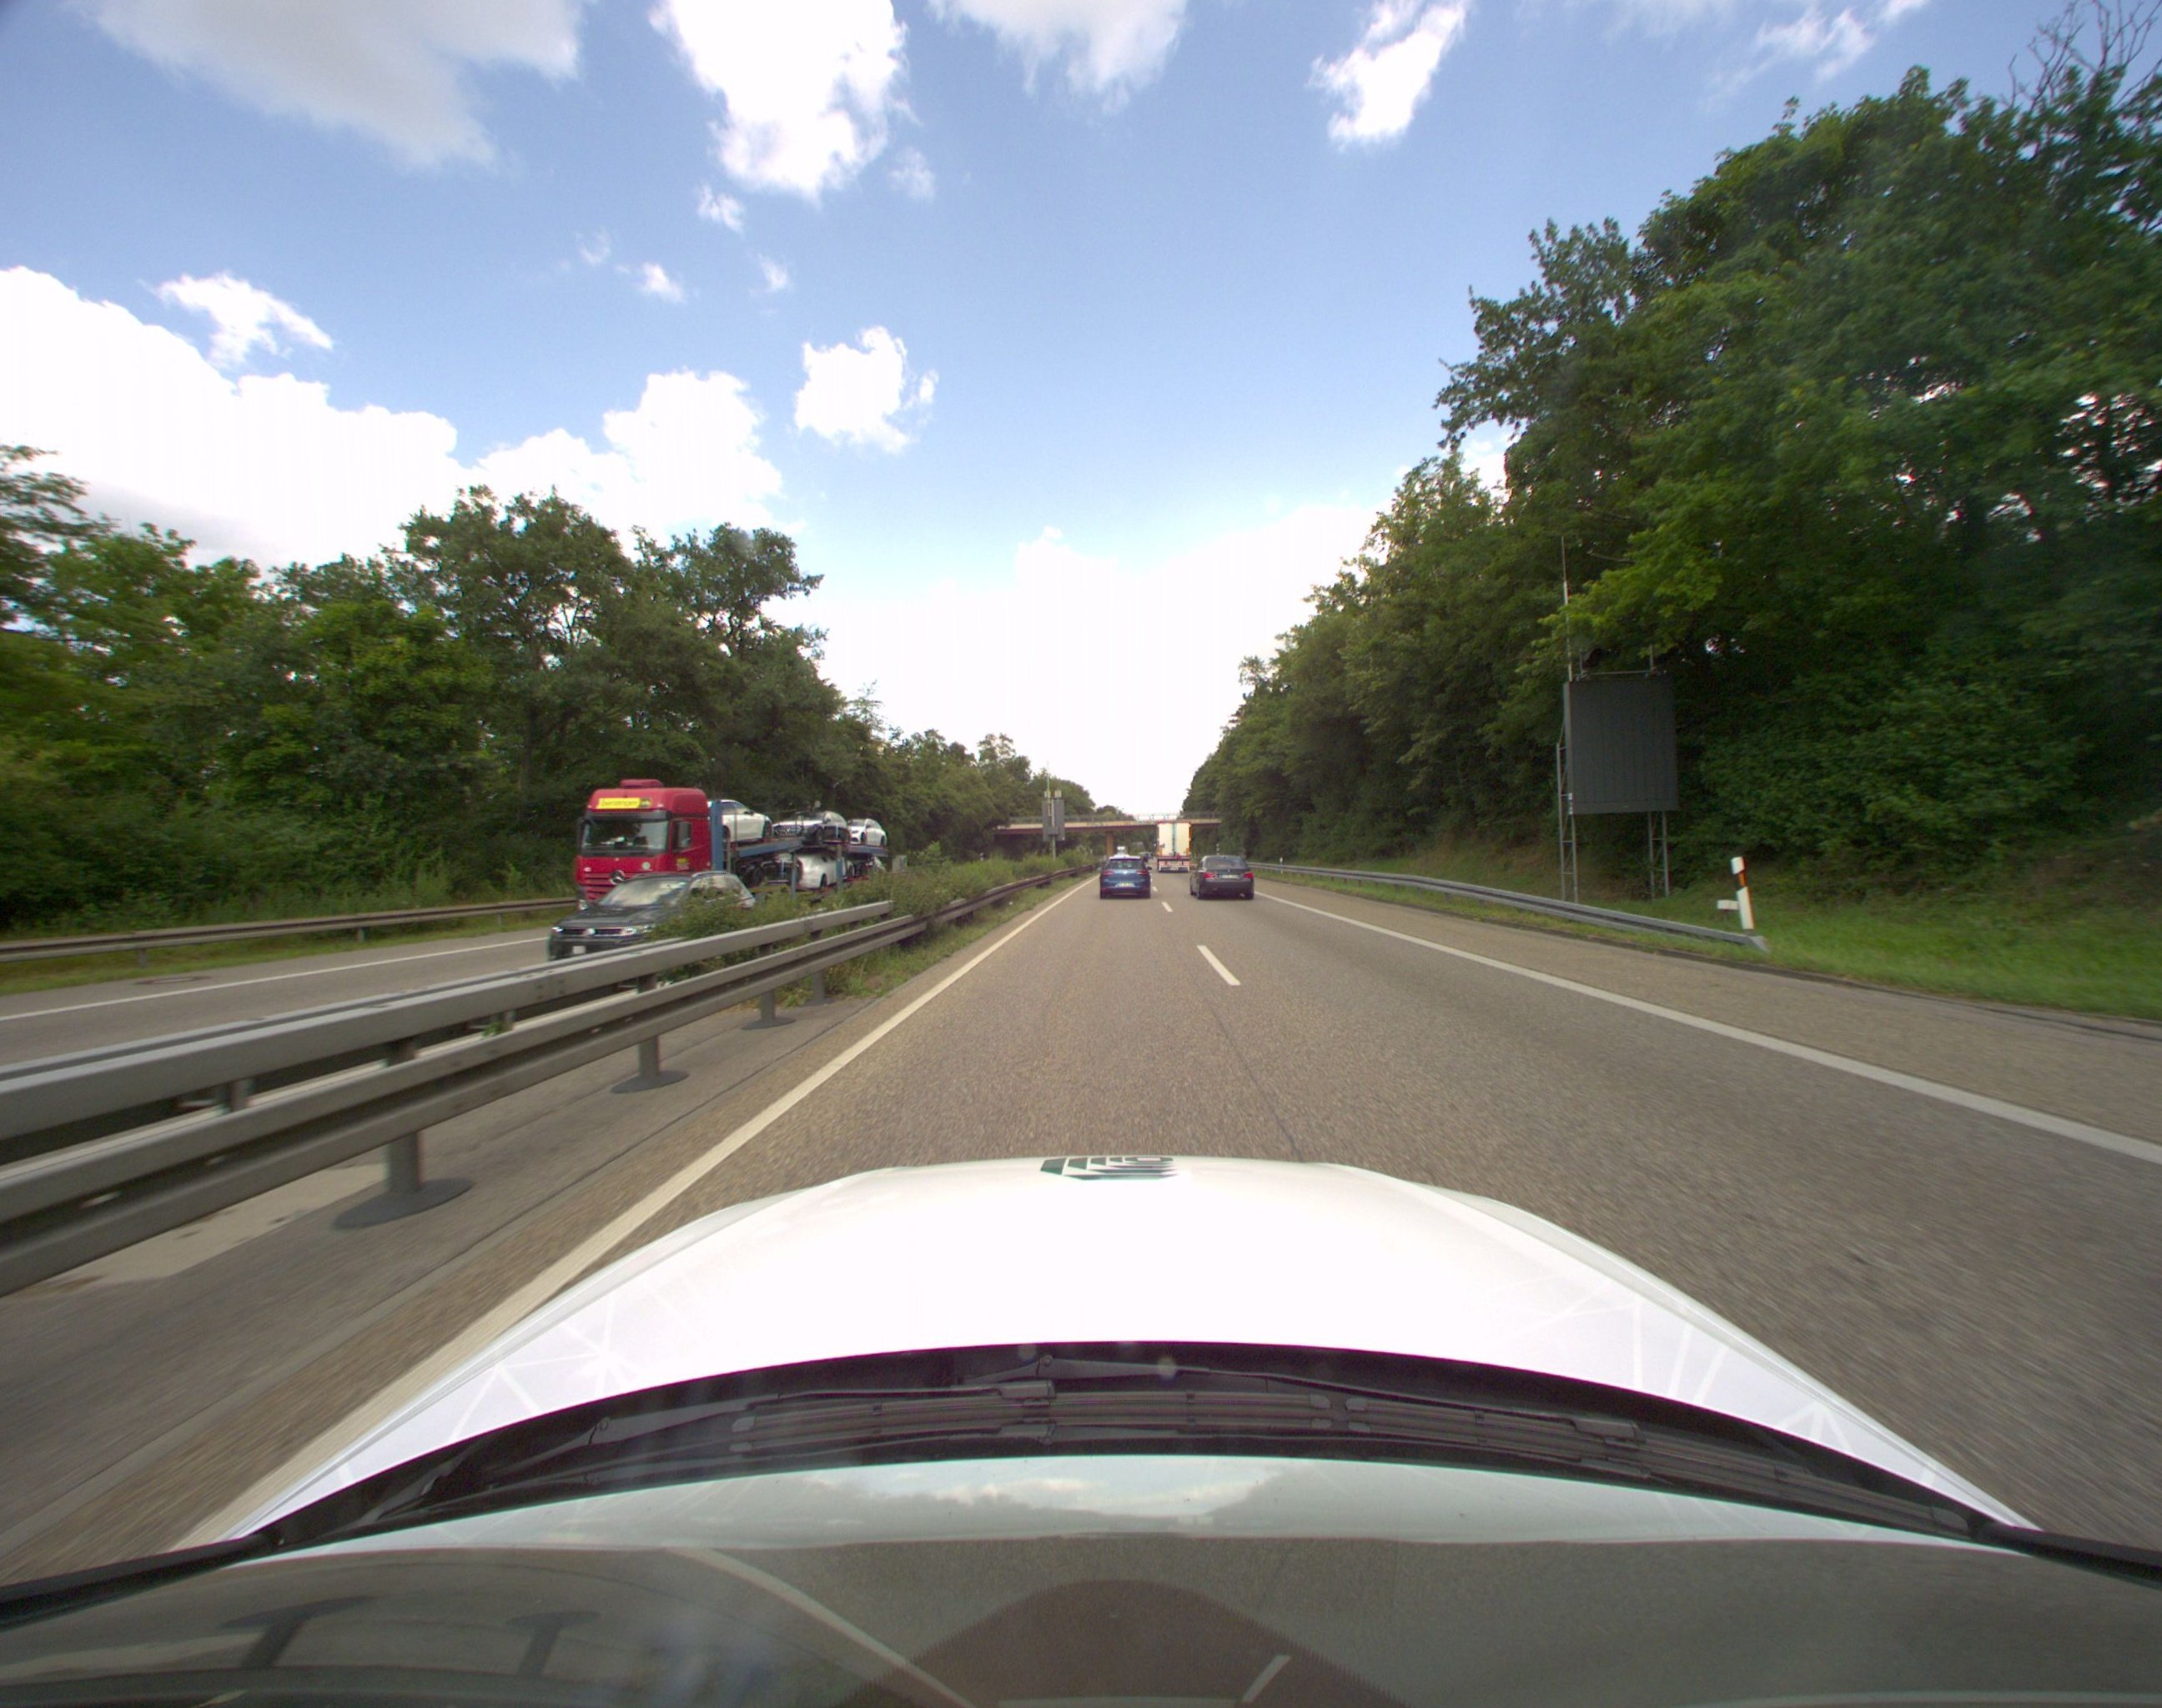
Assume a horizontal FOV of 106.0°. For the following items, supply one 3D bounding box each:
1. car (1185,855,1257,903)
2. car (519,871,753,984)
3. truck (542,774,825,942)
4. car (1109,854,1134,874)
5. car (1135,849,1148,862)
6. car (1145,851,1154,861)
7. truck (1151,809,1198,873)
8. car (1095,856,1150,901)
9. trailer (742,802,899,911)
[{"bbox_3d":[4.703,0.775,27.955,1.767,1.475,4.882,-1,0,2],"label":"car"},{"bbox_3d":[-7.661,1.171,14.564,1.667,1.551,4.265,-3,0,2],"label":"car"},{"bbox_3d":[-11.050,0.092,24.475,2.943,3.855,10.329,-3,0,2],"label":"truck"},{"bbox_3d":[3.288,0.784,65.732,1.657,1.500,4.160,-1,0,7],"label":"car"},{"bbox_3d":[9.560,0.188,128.419,1.944,2.013,4.006,-2,0,6],"label":"car"},{"bbox_3d":[16.600,0.565,198.314,1.985,2.327,4.447,-2,0,4],"label":"car"},{"bbox_3d":[7.556,-1.034,67.365,3.227,4.716,11.019,-2,0,4],"label":"truck"},{"bbox_3d":[1.537,0.815,28.911,1.696,1.470,4.007,-1,0,6],"label":"car"},{"bbox_3d":[-10.641,0.086,34.758,2.927,3.833,10.314,-3,0,2],"label":"trailer"}]
